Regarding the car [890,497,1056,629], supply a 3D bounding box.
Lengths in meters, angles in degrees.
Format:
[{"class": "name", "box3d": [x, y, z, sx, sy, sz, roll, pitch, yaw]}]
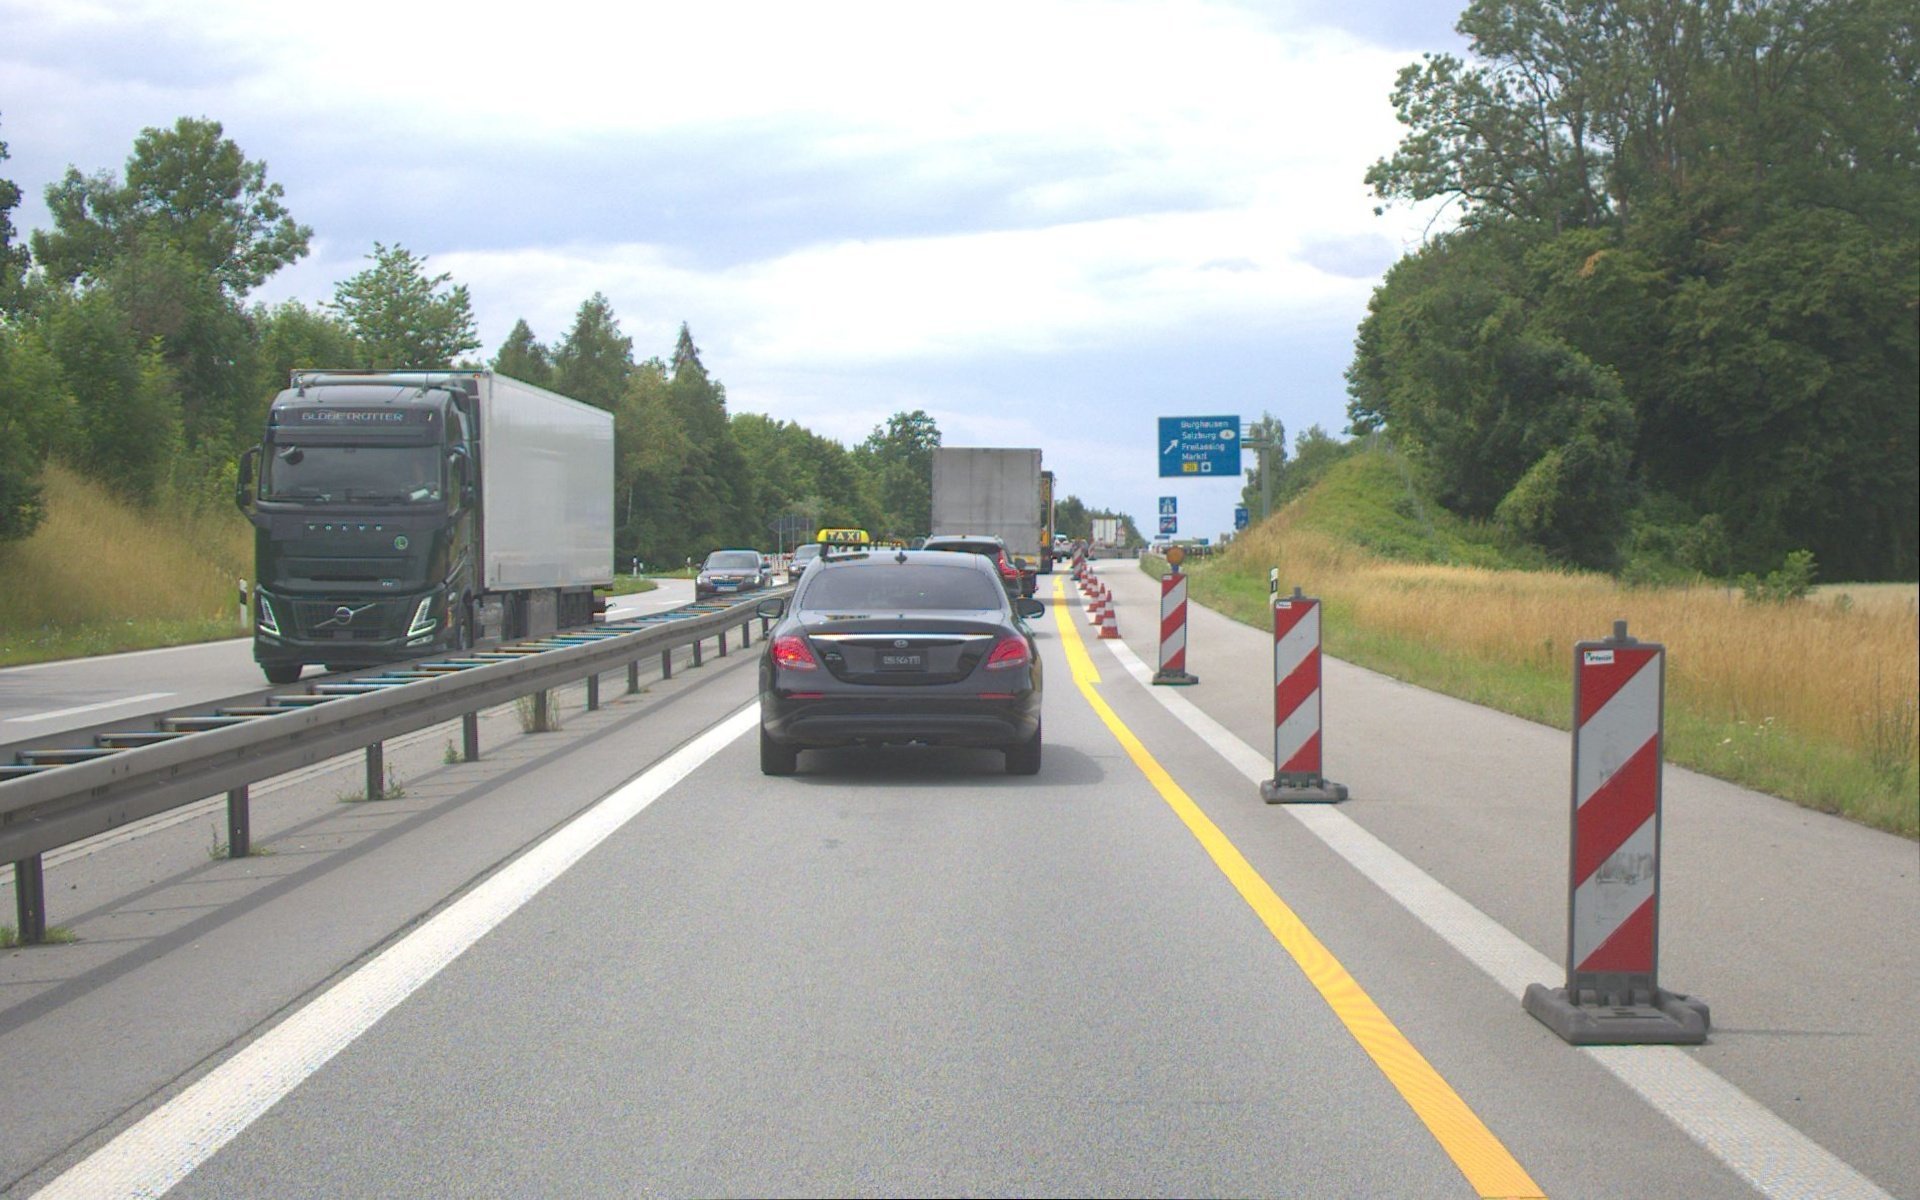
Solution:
[{"class": "car", "box3d": [0.166, -0.586, 55.086, 1.993, 2.007, 4.001, 1, 0, -9]}]

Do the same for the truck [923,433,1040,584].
[{"class": "truck", "box3d": [0.479, -2.152, 82.936, 2.586, 3.512, 4.813, 1, 0, -2]}]

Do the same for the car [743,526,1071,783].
[{"class": "car", "box3d": [-0.266, 0.326, 23.201, 1.796, 1.554, 3.999, 1, 0, 5]}]

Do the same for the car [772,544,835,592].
[{"class": "car", "box3d": [-5.533, -1.123, 121.736, 1.993, 1.612, 4.000, 1, 0, 0]}]

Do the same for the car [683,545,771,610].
[{"class": "car", "box3d": [-6.079, -0.584, 90.059, 1.993, 1.612, 4.000, 1, 0, 0]}]

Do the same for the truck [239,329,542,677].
[{"class": "truck", "box3d": [-7.284, -1.183, 44.921, 2.640, 4.156, 6.985, 1, 0, 1]}]

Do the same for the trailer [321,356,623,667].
[{"class": "trailer", "box3d": [-7.189, -1.221, 52.511, 2.640, 4.156, 12.188, 1, 0, 1]}]
